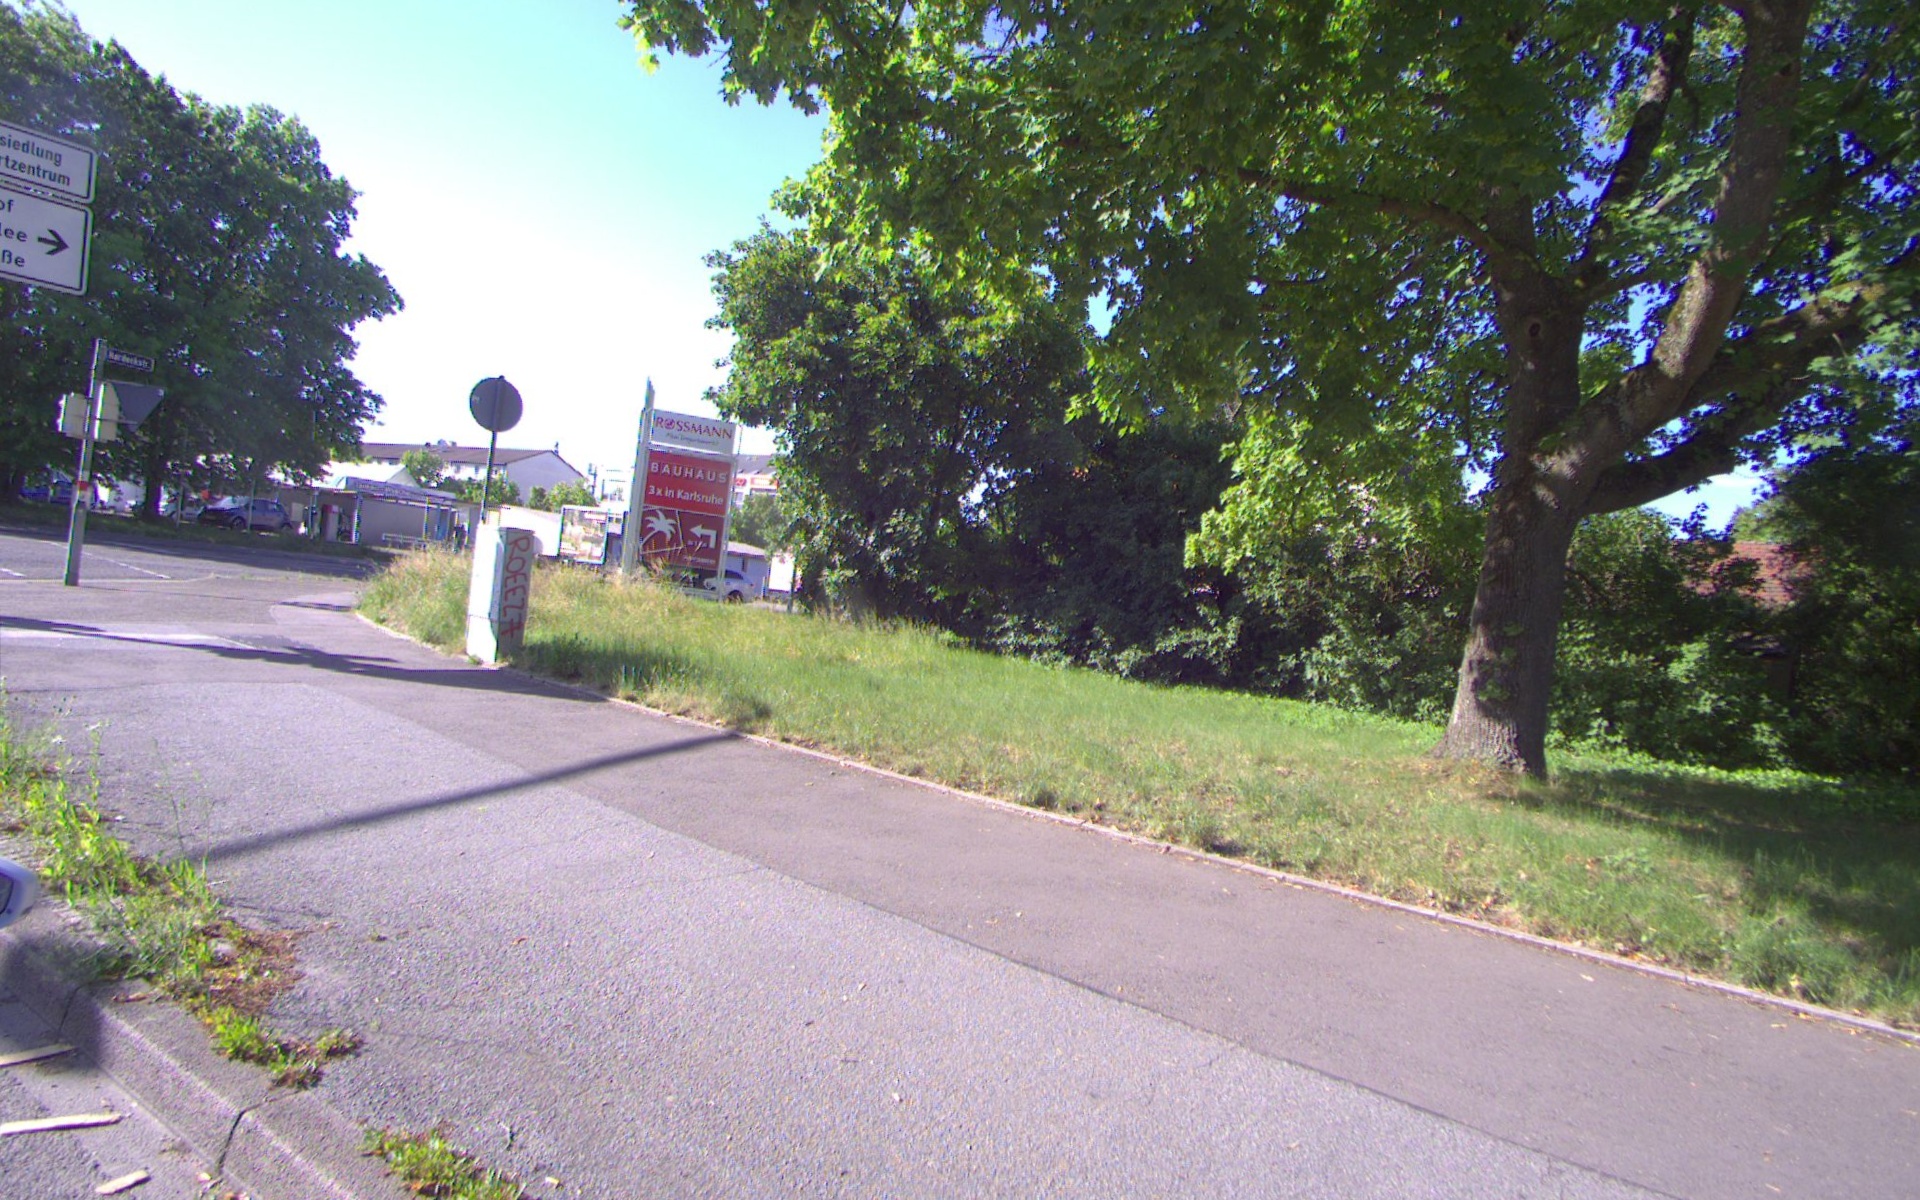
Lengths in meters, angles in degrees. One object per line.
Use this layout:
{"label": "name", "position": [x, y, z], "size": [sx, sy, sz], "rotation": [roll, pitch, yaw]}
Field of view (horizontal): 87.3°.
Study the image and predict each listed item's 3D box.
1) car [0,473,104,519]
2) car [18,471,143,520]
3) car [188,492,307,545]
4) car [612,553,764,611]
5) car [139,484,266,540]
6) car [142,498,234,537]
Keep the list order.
{"label": "car", "position": [-41.989, -4.774, 46.153], "size": [1.712, 1.537, 3.902], "rotation": [7, 0, 9]}
{"label": "car", "position": [-39.178, -4.633, 44.929], "size": [1.712, 1.537, 3.902], "rotation": [7, 0, 9]}
{"label": "car", "position": [-30.295, -3.433, 42.914], "size": [1.712, 1.701, 4.001], "rotation": [7, 0, 9]}
{"label": "car", "position": [-9.827, -0.625, 36.689], "size": [1.973, 1.504, 4.994], "rotation": [7, 0, 43]}
{"label": "car", "position": [-32.328, -3.732, 43.078], "size": [1.962, 1.772, 4.001], "rotation": [7, 0, 9]}
{"label": "car", "position": [-46.333, -4.927, 60.469], "size": [1.714, 1.701, 3.996], "rotation": [7, 0, 25]}
